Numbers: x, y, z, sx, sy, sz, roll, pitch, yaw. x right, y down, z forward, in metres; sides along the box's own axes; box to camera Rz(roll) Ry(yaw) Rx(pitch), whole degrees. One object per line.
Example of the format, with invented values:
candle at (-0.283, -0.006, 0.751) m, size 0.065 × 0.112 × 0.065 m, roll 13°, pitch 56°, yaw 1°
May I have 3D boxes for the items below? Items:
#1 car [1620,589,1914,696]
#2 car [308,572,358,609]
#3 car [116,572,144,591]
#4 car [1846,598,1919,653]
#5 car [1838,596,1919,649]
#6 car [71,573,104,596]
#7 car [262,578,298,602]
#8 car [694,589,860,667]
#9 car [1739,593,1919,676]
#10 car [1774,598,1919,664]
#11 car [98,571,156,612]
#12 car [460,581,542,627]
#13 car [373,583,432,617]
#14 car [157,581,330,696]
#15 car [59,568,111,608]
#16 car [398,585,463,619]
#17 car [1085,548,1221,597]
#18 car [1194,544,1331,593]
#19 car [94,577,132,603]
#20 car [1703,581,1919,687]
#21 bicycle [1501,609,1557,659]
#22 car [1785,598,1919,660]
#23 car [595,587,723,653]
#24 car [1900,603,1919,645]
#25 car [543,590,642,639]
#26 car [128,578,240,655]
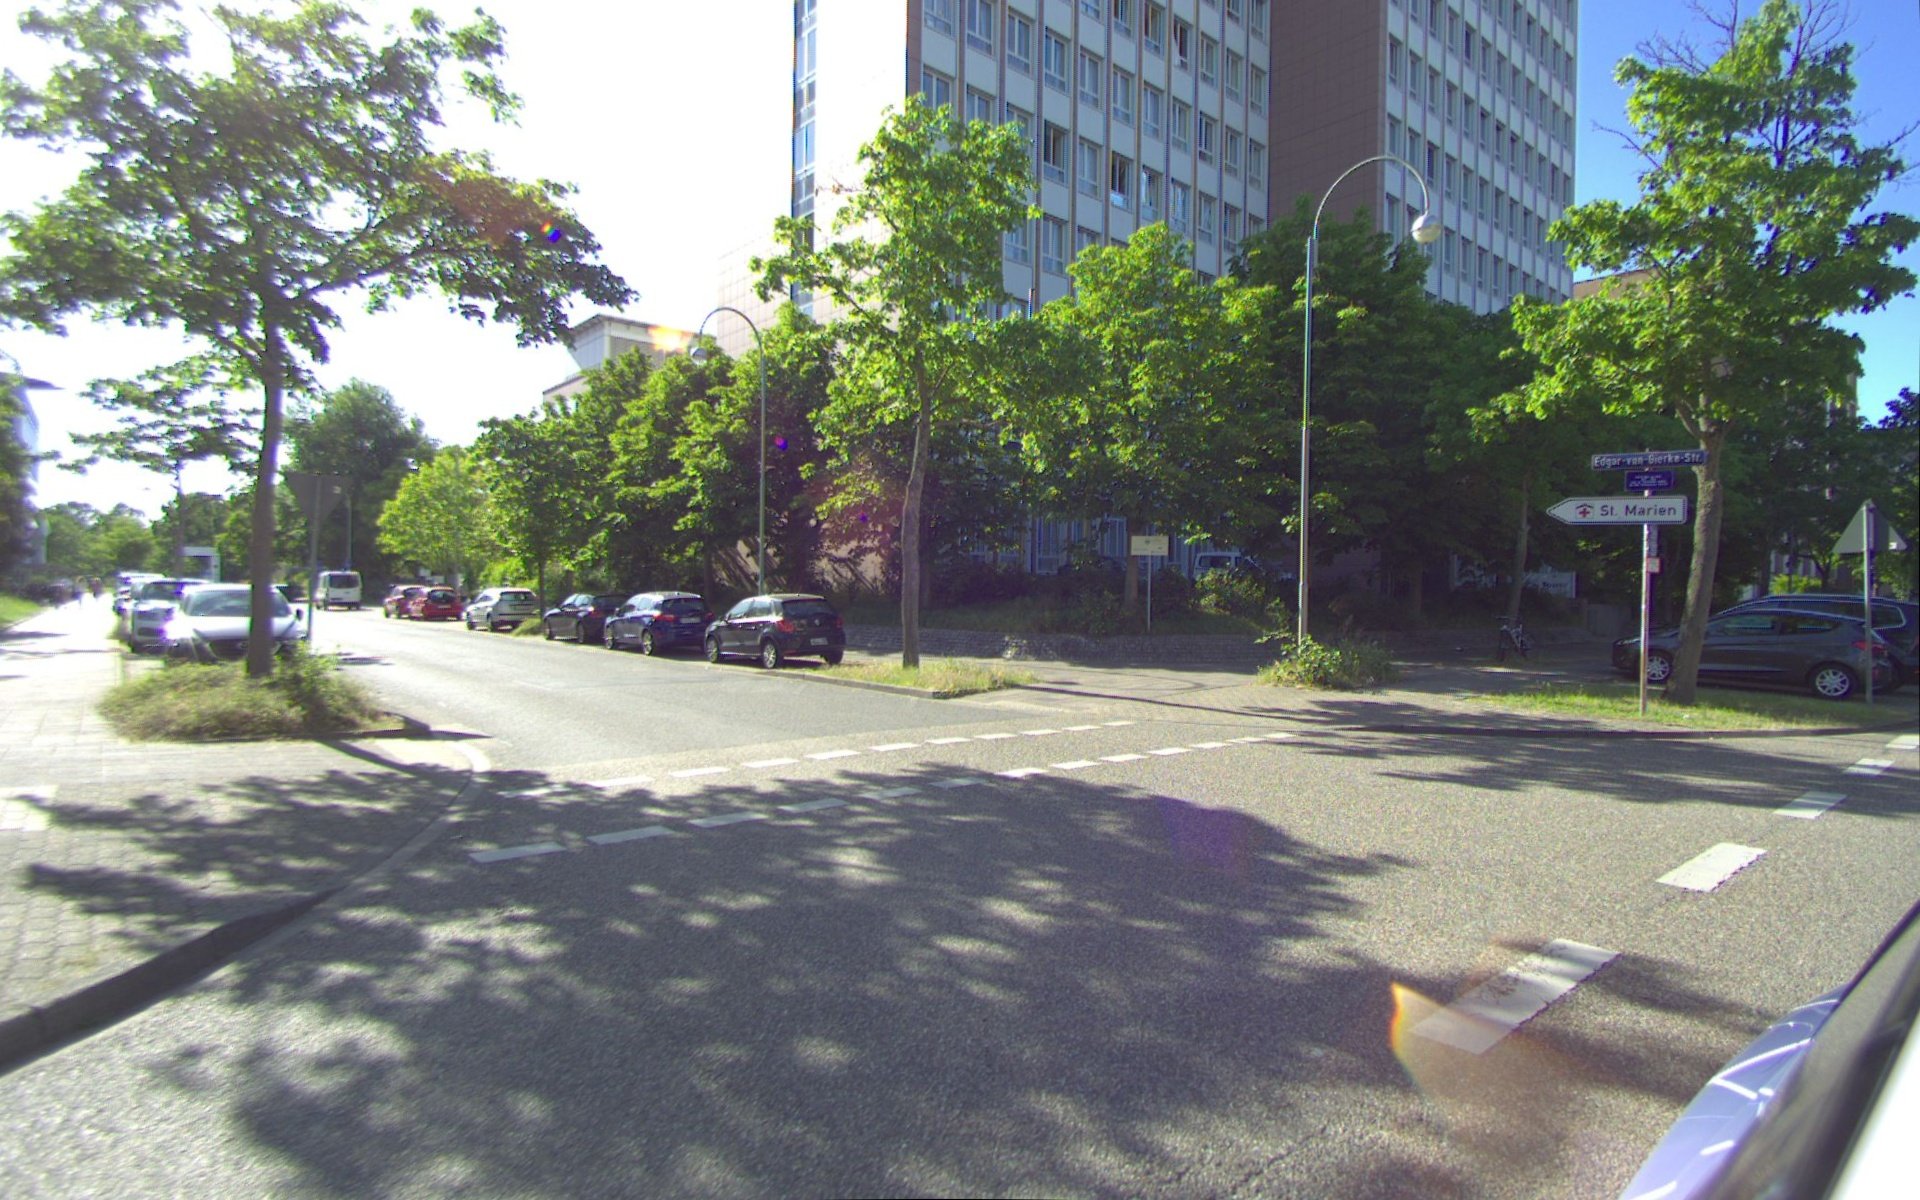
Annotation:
car at (14.245, 0.682, 18.027) m, size 1.565 × 1.464 × 3.841 m, roll 3°, pitch 2°, yaw -43°
car at (-38.328, -0.560, 61.814) m, size 1.965 × 2.208 × 3.993 m, roll 0°, pitch 0°, yaw -41°
car at (-92.228, -2.009, 112.396) m, size 3.987 × 2.039 × 1.968 m, roll 0°, pitch -1°, yaw 44°
car at (28.463, 0.759, 29.618) m, size 1.694 × 1.525 × 3.579 m, roll 0°, pitch 2°, yaw -41°
car at (29.928, 0.711, 31.361) m, size 1.656 × 1.569 × 3.975 m, roll 1°, pitch 1°, yaw -44°
car at (-79.376, -1.383, 92.084) m, size 3.987 × 2.039 × 1.968 m, roll 0°, pitch 0°, yaw 44°
car at (-55.498, -0.824, 82.611) m, size 1.965 × 1.896 × 3.993 m, roll 0°, pitch 0°, yaw -41°
car at (-3.960, 0.513, 21.396) m, size 1.738 × 1.466 × 3.995 m, roll -1°, pitch 1°, yaw -39°
car at (19.577, 0.719, 22.076) m, size 1.780 × 1.584 × 3.873 m, roll 0°, pitch 2°, yaw -45°
car at (23.171, 0.766, 25.647) m, size 1.695 × 1.499 × 3.717 m, roll 0°, pitch 2°, yaw -42°
car at (-38.665, -0.378, 46.926) m, size 1.965 × 1.822 × 4.443 m, roll 0°, pitch 0°, yaw -41°
car at (-16.072, 0.117, 35.380) m, size 1.680 × 1.512 × 3.767 m, roll 0°, pitch 0°, yaw -40°
car at (-26.637, -0.019, 48.324) m, size 1.618 × 1.573 × 3.992 m, roll 0°, pitch 0°, yaw -42°
car at (-11.323, 0.500, 15.883) m, size 1.803 × 1.550 × 3.993 m, roll 1°, pitch 0°, yaw -41°
car at (-46.157, -0.628, 53.367) m, size 1.966 × 2.039 × 3.991 m, roll 0°, pitch 0°, yaw -43°
car at (-23.469, 0.087, 44.785) m, size 1.737 × 1.442 × 3.867 m, roll 0°, pitch 0°, yaw -41°
car at (6.390, -0.895, 33.734) m, size 4.225 × 1.525 × 1.697 m, roll 1°, pitch 1°, yaw 44°
car at (11.462, -1.166, 38.563) m, size 1.844 × 1.707 × 4.720 m, roll 1°, pitch 0°, yaw -44°
car at (-50.760, -0.572, 60.599) m, size 1.667 × 1.510 × 3.941 m, roll 0°, pitch 0°, yaw -41°
car at (16.656, 0.575, 19.278) m, size 1.693 × 1.772 × 3.682 m, roll 0°, pitch 2°, yaw -39°
bicycle at (12.106, 0.713, 21.513) m, size 1.920 × 1.006 × 0.303 m, roll 0°, pitch 0°, yaw -37°
car at (25.235, 0.770, 27.279) m, size 1.827 × 1.573 × 4.427 m, roll 1°, pitch 0°, yaw -41°
car at (-7.513, 0.443, 25.036) m, size 1.621 × 1.488 × 3.851 m, roll 0°, pitch 0°, yaw -41°
car at (35.880, 0.917, 36.096) m, size 1.559 × 1.497 × 3.206 m, roll 0°, pitch 2°, yaw -37°
car at (-10.607, 0.372, 29.092) m, size 1.525 × 1.321 × 3.497 m, roll 0°, pitch 0°, yaw -41°
car at (-18.286, 0.339, 23.760) m, size 1.803 × 1.639 × 4.451 m, roll 0°, pitch 0°, yaw -41°
